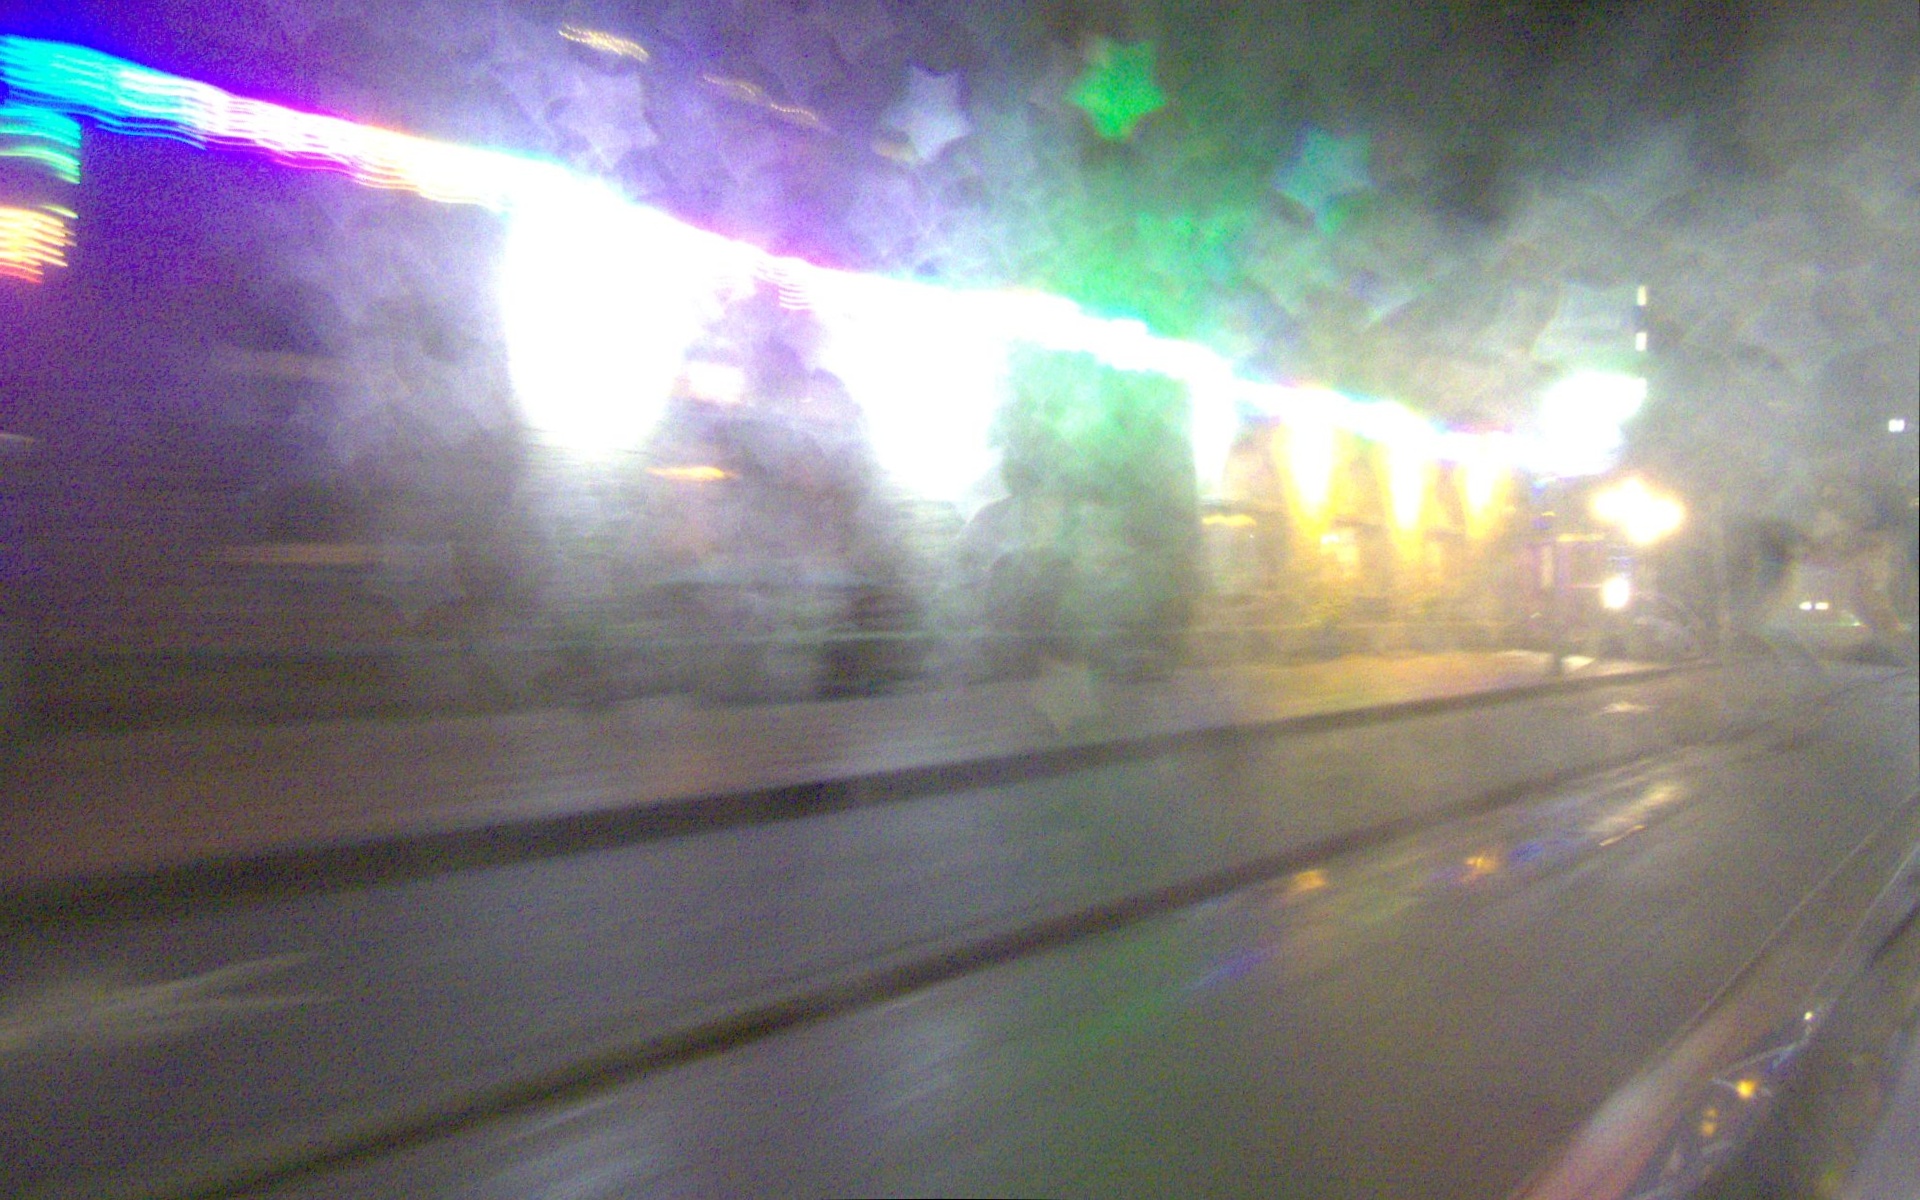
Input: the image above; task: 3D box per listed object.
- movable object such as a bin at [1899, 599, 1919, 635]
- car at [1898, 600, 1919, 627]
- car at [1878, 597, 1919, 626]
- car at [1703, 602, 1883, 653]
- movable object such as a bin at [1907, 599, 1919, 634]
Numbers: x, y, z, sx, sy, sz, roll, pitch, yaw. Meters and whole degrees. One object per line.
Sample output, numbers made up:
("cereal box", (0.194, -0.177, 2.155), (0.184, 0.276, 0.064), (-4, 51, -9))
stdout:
("movable object such as a bin", (39.867, 0.721, 41.798), (1.052, 1.440, 1.373), (0, 2, -35))
("car", (55.077, 0.808, 55.819), (4.562, 1.494, 1.820), (1, 1, 30))
("car", (52.036, 0.645, 54.436), (3.676, 1.537, 1.640), (1, 1, 32))
("car", (26.648, 0.853, 32.574), (4.062, 1.557, 1.944), (0, 0, 25))
("movable object such as a bin", (40.725, 0.706, 42.496), (1.080, 1.440, 1.212), (0, 2, -35))
